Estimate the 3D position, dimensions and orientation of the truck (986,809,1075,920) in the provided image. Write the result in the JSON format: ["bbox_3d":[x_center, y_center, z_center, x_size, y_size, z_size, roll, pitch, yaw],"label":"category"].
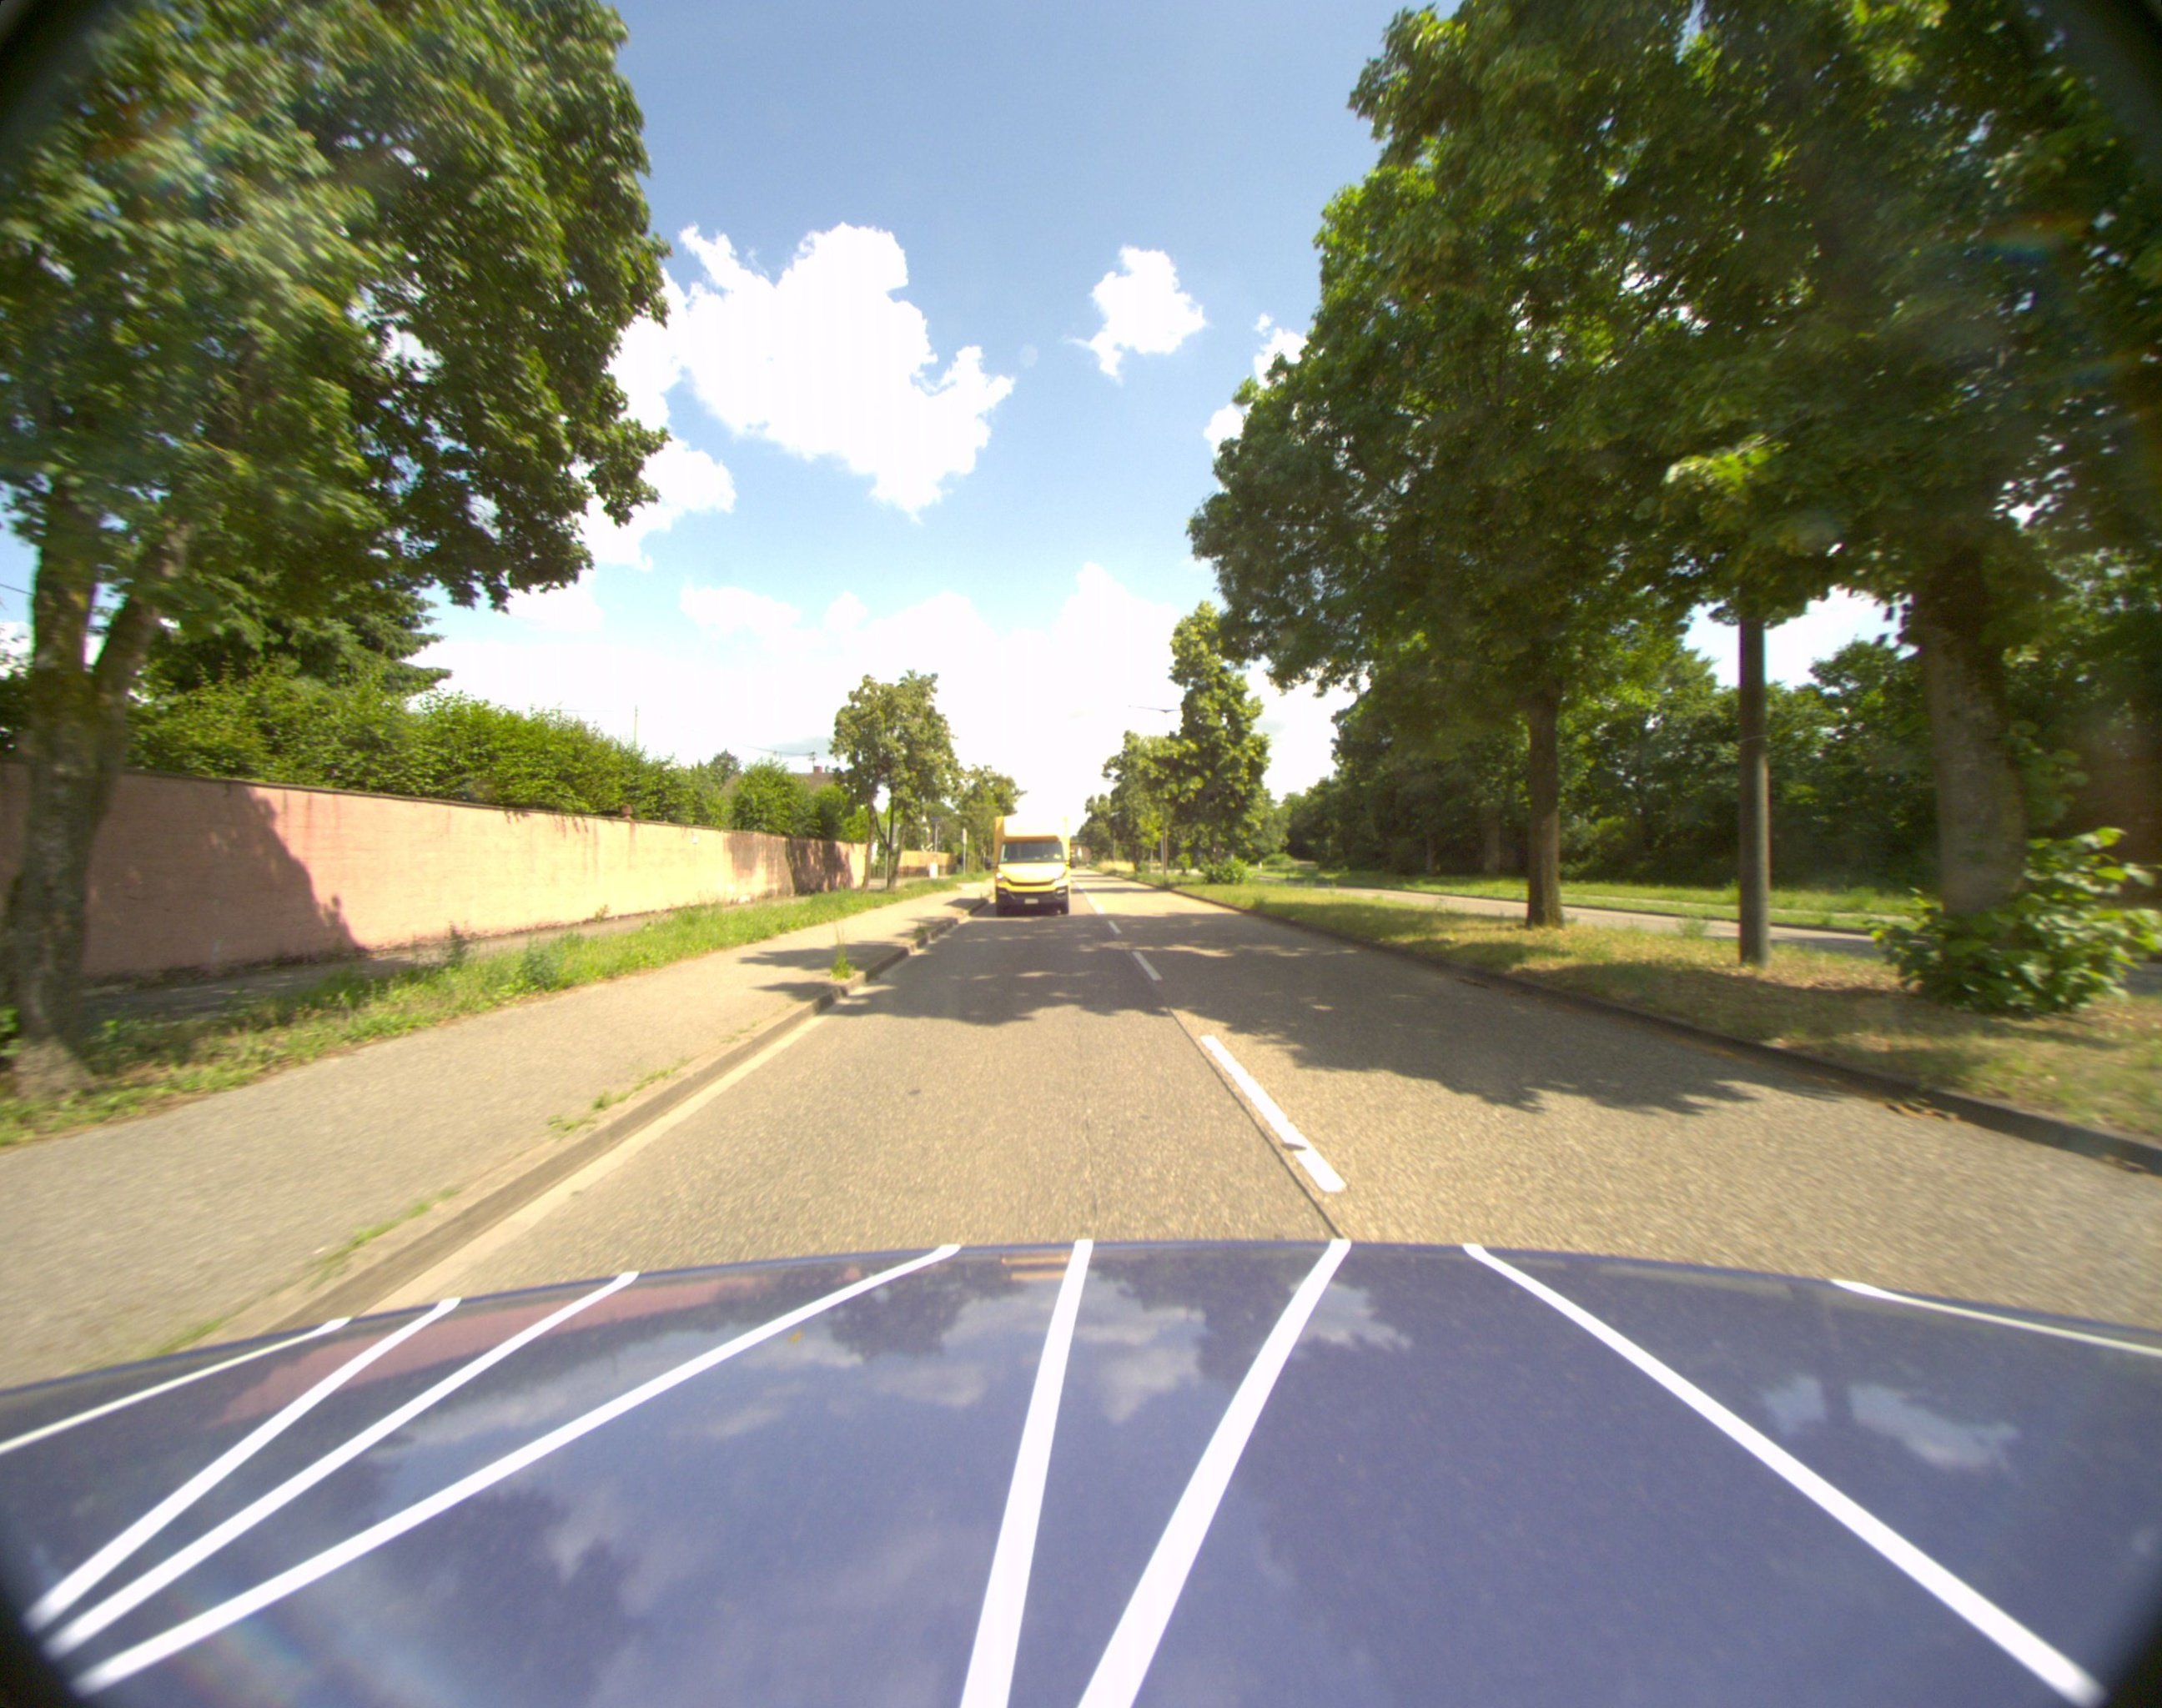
[{"bbox_3d":[-1.460,0.280,23.906,2.271,2.863,8.026,-1,0,-2],"label":"truck"}]

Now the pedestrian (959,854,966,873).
[{"bbox_3d":[-10.583,0.844,67.850,0.561,1.667,0.634,0,0,-2],"label":"pedestrian"}]
